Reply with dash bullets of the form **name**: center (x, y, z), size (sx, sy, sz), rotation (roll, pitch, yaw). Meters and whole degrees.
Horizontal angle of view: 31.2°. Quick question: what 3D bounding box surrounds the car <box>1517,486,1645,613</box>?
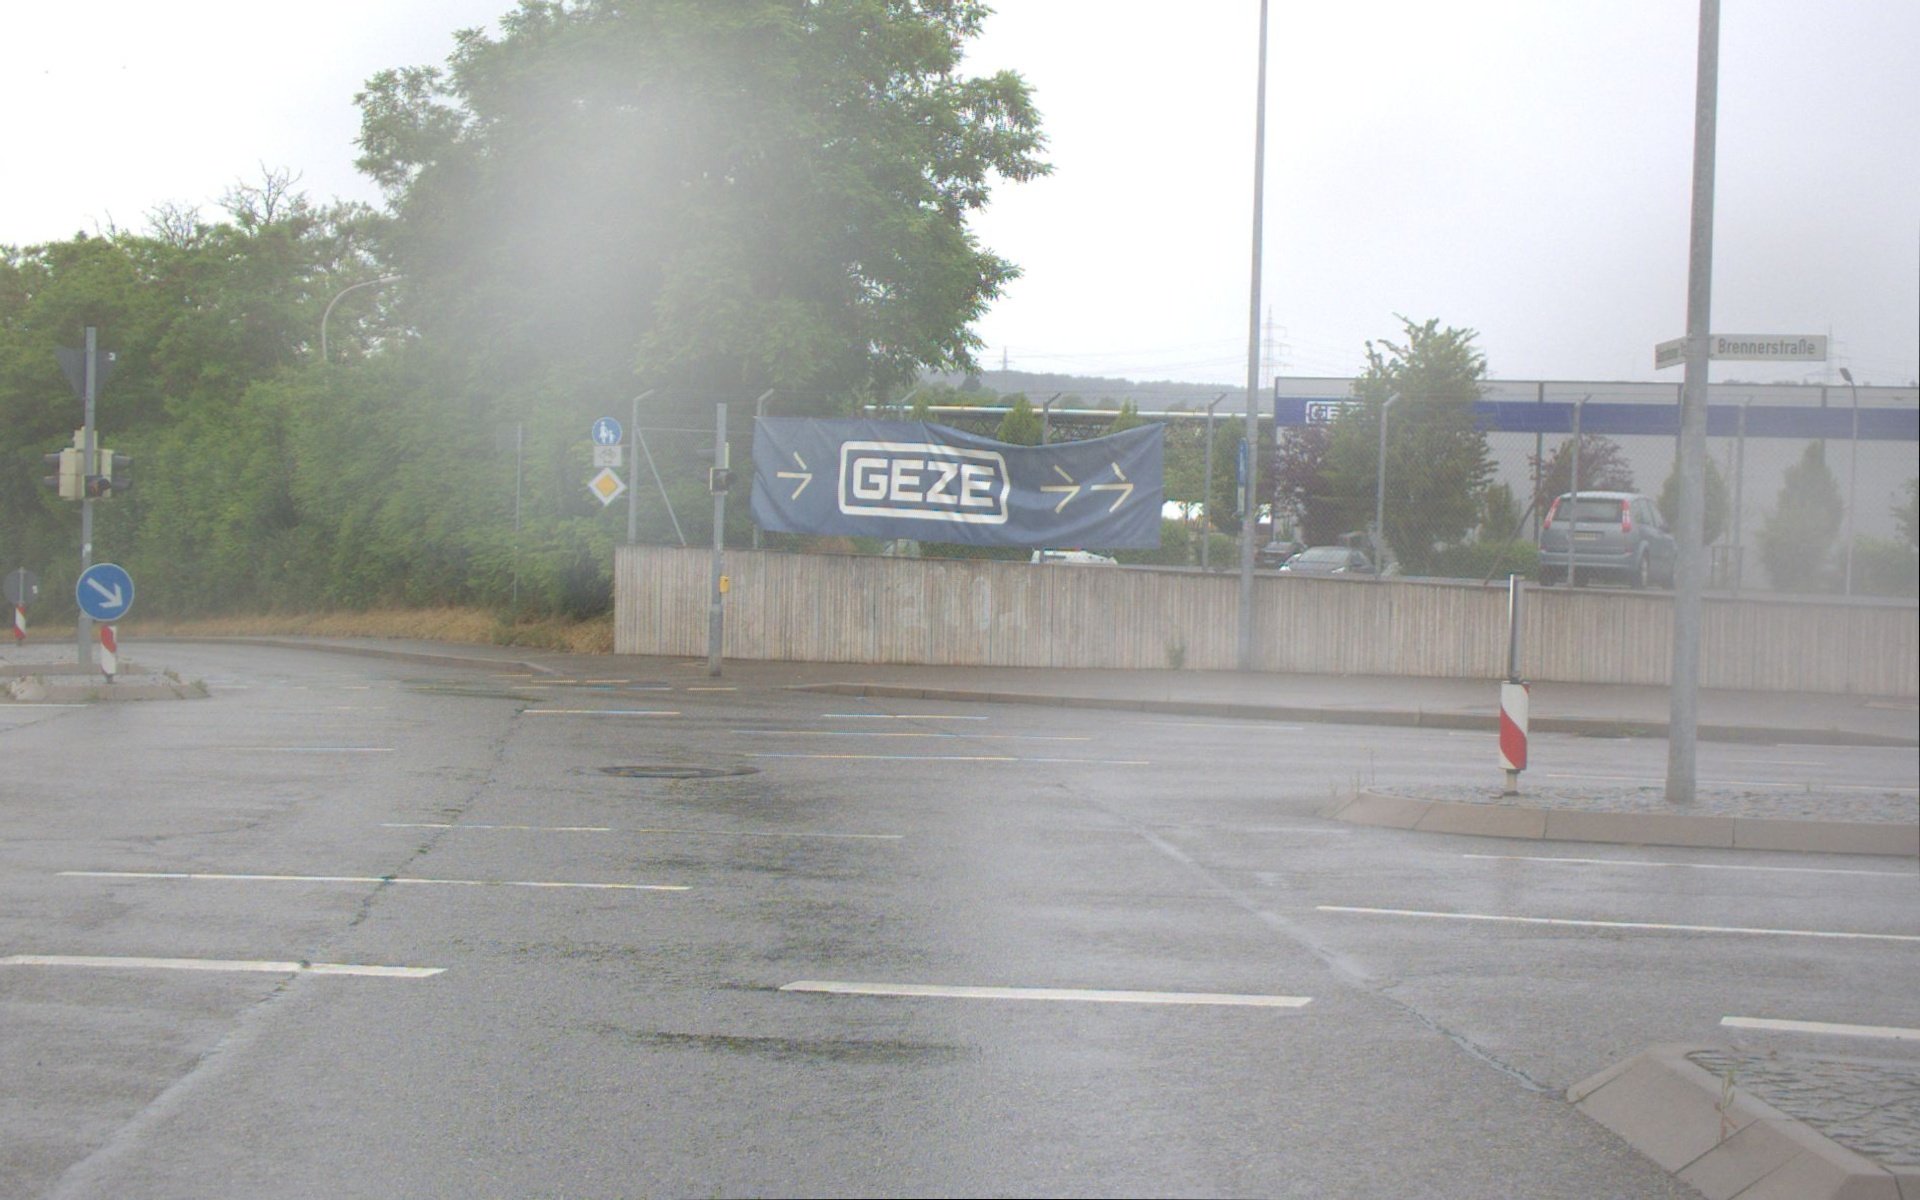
- **car**: center (10.449, -0.856, 57.687), size (1.994, 2.007, 3.998), rotation (1, 1, 11)
